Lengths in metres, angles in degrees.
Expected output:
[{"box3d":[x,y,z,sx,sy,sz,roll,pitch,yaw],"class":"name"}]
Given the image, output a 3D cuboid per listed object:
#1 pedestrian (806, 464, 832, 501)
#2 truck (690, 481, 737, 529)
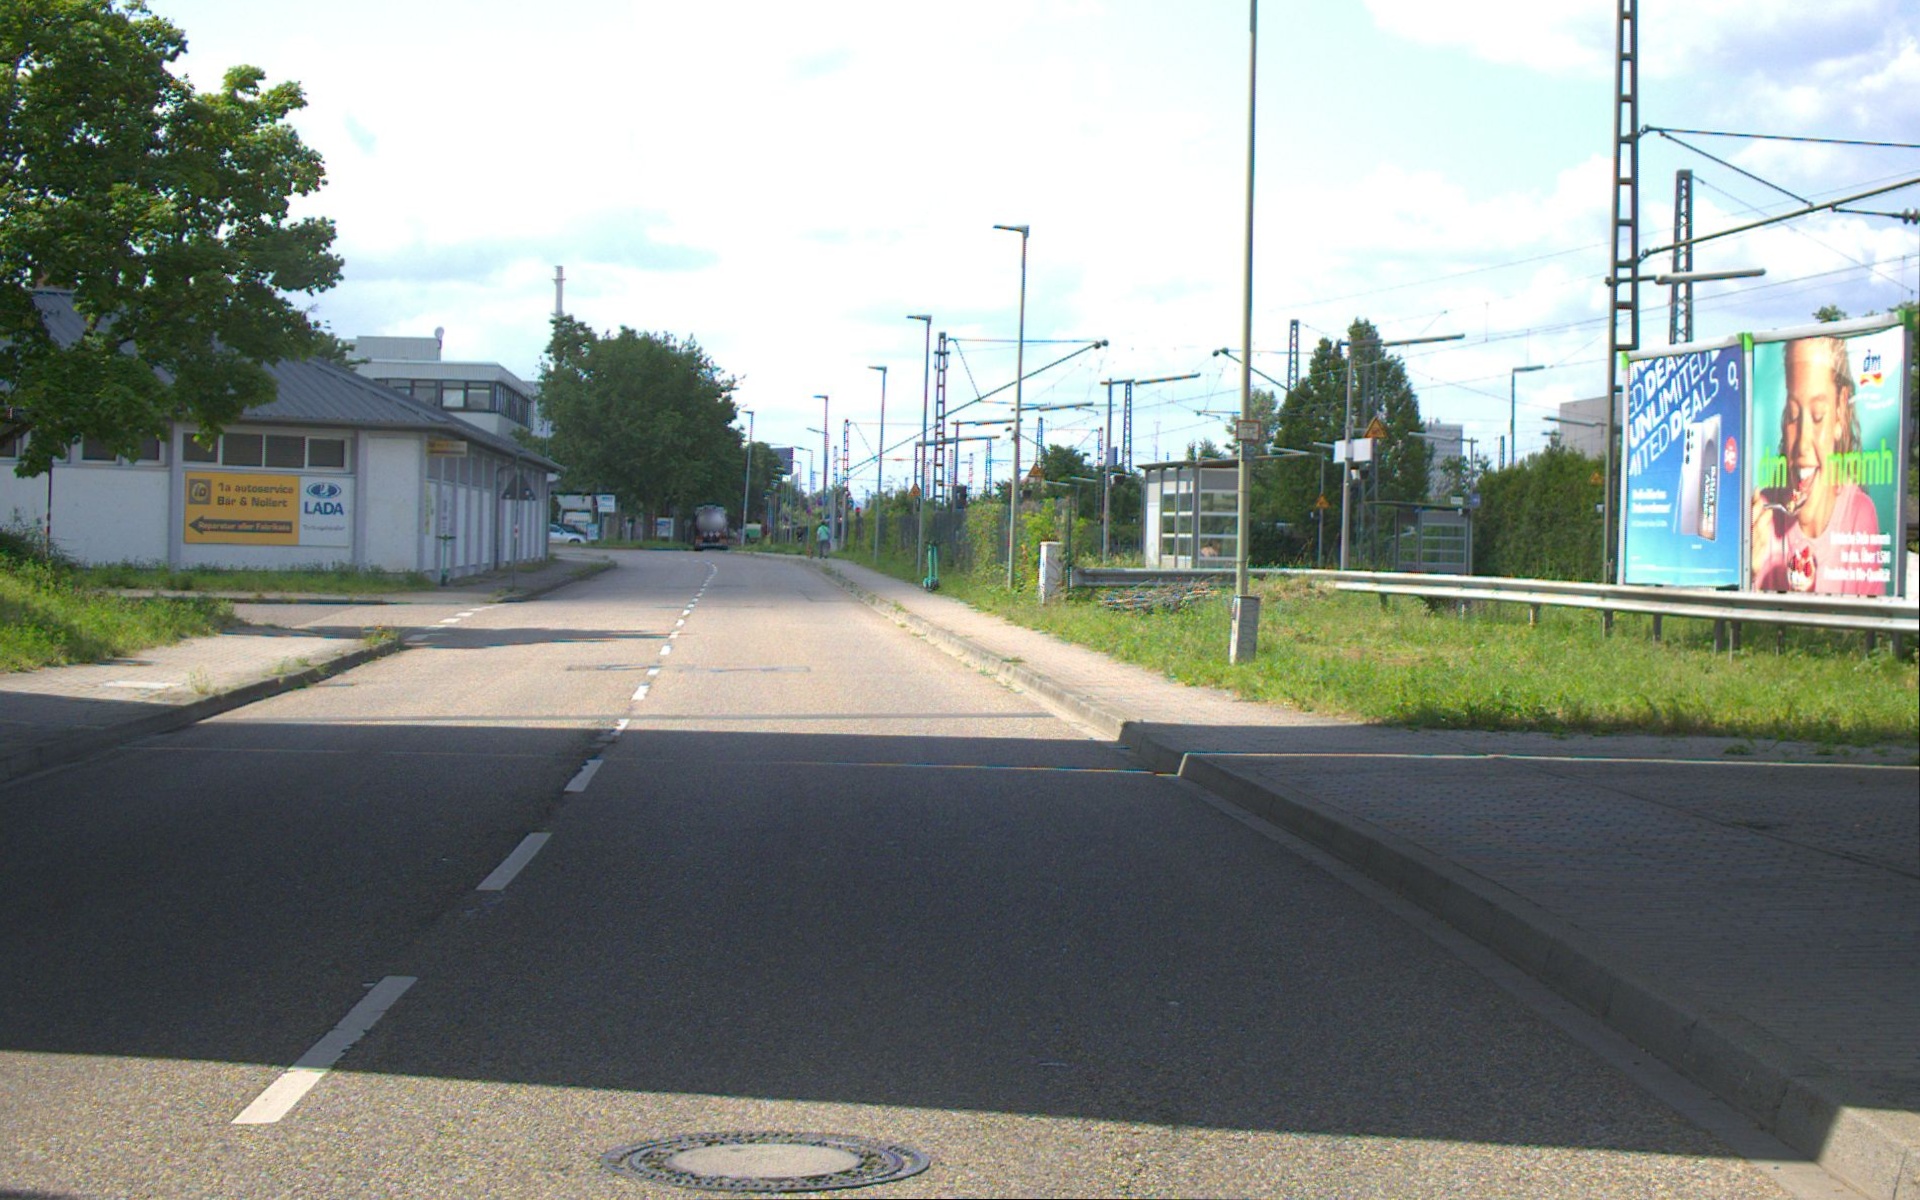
[{"box3d":[-7.815,-6.520,190.741,1.057,2.006,0.851,1,3,-43],"class":"pedestrian"},{"box3d":[-18.646,-7.170,260.033,3.131,3.619,6.422,0,1,-1],"class":"truck"}]
